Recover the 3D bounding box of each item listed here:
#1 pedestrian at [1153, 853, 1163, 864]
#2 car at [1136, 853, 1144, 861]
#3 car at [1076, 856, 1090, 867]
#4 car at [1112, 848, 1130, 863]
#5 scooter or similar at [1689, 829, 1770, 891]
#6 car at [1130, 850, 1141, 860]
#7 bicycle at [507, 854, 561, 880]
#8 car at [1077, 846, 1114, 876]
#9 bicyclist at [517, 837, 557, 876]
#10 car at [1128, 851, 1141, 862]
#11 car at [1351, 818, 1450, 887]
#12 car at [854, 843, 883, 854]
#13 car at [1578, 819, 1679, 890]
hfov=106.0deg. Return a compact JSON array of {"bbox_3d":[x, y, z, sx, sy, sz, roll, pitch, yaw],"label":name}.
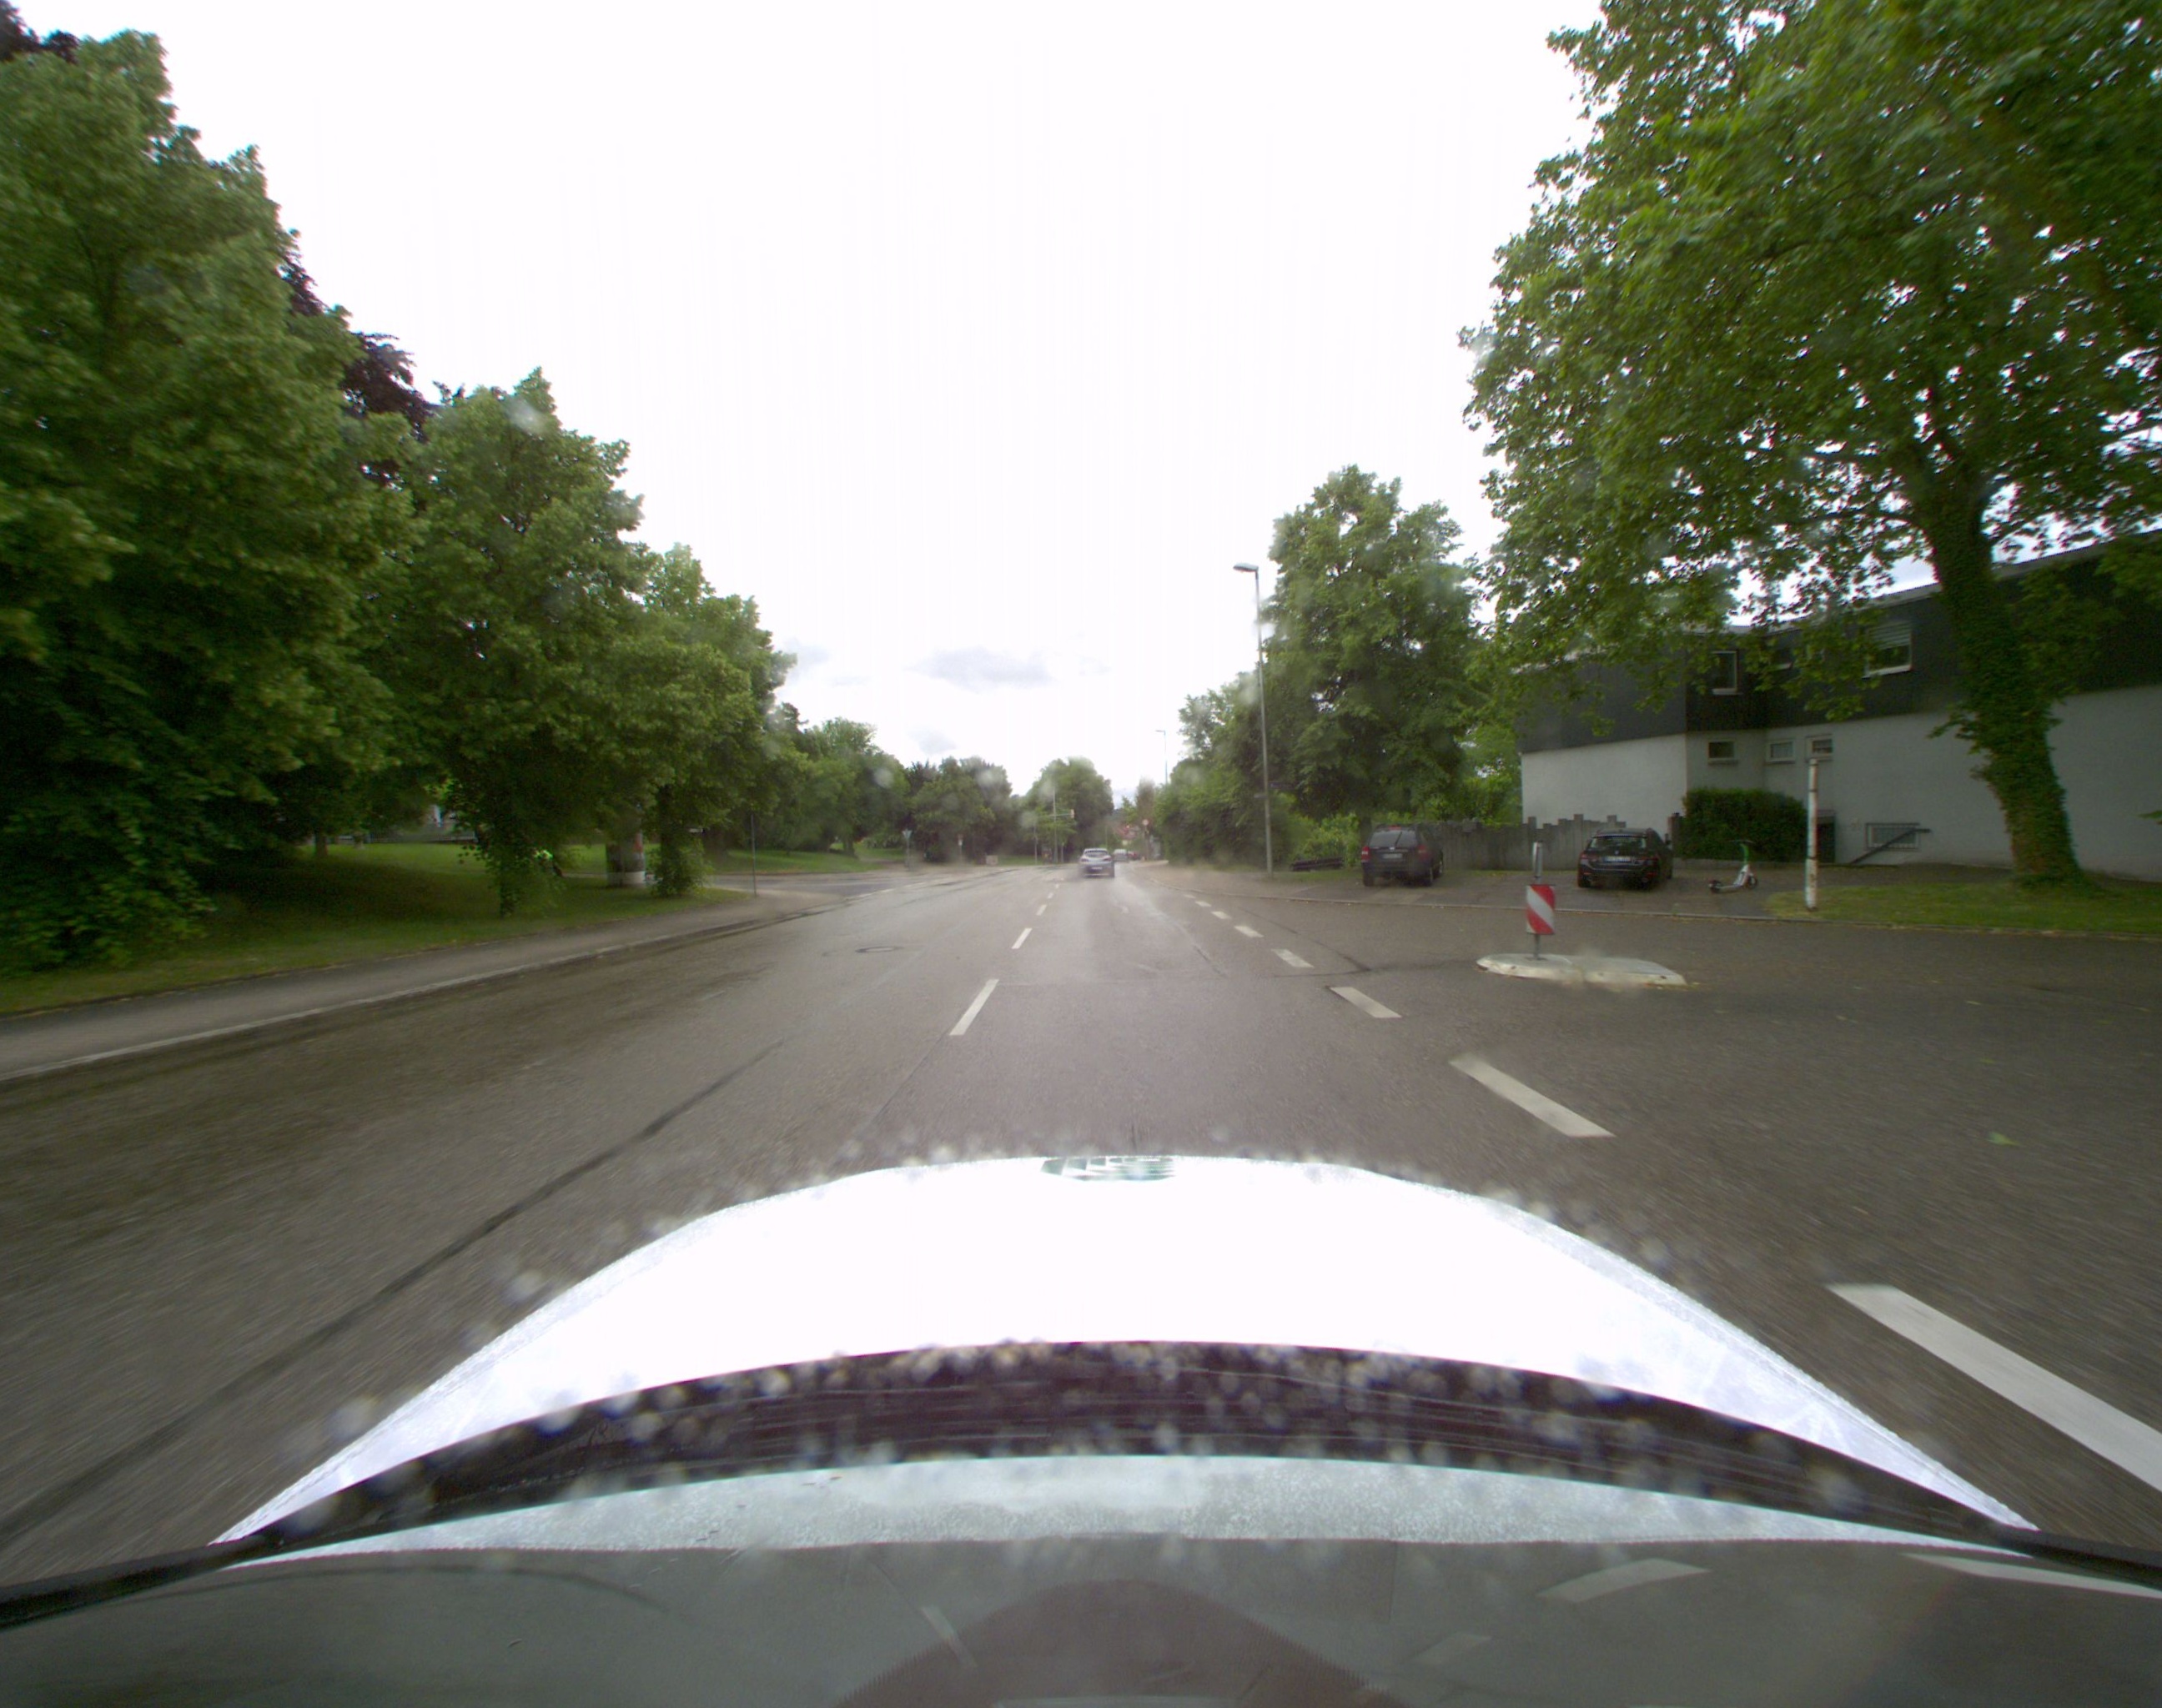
[{"bbox_3d":[9.880,0.579,104.419,1.066,1.355,0.921,-3,-1,12],"label":"pedestrian"},{"bbox_3d":[11.948,0.658,165.313,1.714,1.464,4.004,1,0,4],"label":"car"},{"bbox_3d":[0.318,1.105,118.545,1.653,1.306,4.090,-4,1,5],"label":"car"},{"bbox_3d":[4.135,0.192,83.960,1.714,1.464,4.004,1,0,4],"label":"car"},{"bbox_3d":[14.626,0.137,18.382,1.333,1.285,0.561,-3,-1,-5],"label":"scooter or similar"},{"bbox_3d":[8.877,0.187,133.315,1.714,1.464,4.004,1,0,4],"label":"car"},{"bbox_3d":[-25.979,0.626,38.678,2.020,1.155,0.856,-3,-2,8],"label":"bicycle"},{"bbox_3d":[0.789,0.344,41.623,1.747,1.464,4.003,0,0,3],"label":"car"},{"bbox_3d":[-25.836,0.126,38.678,1.274,1.756,0.856,-3,-2,8],"label":"bicyclist"},{"bbox_3d":[7.676,0.386,116.297,1.714,1.464,4.004,1,0,4],"label":"car"},{"bbox_3d":[9.260,-0.128,23.342,1.929,1.689,4.935,-1,3,30],"label":"car"},{"bbox_3d":[-30.154,-0.782,115.385,3.906,1.486,1.924,-1,-1,-18],"label":"car"},{"bbox_3d":[13.974,-0.071,20.665,1.734,1.469,4.595,0,4,39],"label":"car"}]
